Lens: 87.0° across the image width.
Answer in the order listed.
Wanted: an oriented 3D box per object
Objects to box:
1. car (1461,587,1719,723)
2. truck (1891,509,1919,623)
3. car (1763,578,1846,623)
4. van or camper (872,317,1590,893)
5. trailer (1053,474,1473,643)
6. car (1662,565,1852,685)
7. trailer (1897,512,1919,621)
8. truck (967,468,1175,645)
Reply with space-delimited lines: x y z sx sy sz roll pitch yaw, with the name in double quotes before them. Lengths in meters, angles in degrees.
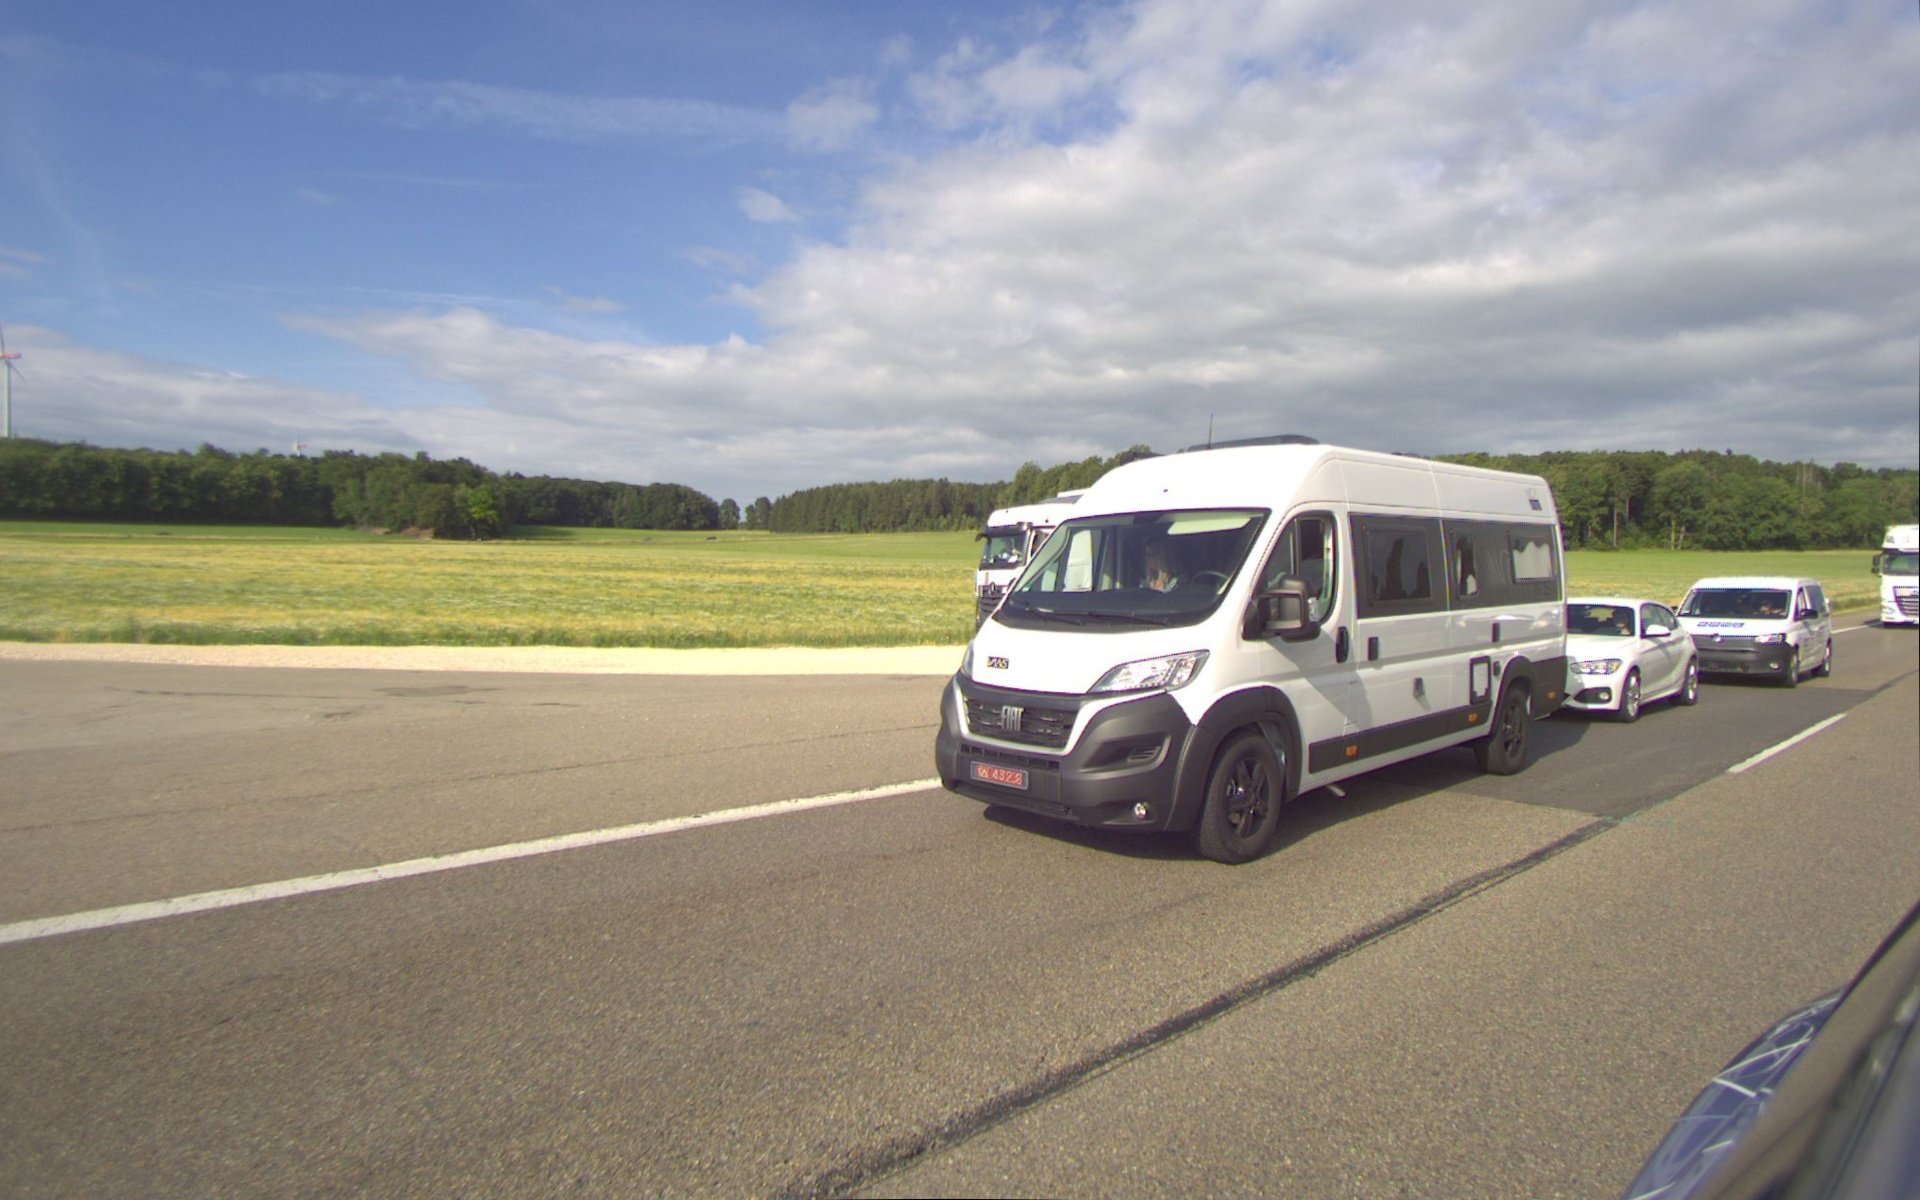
"car" 8.122 0.570 12.894 4.159 1.450 1.706 -1 1 -42
"truck" 38.148 -1.327 39.065 5.668 4.226 2.733 -1 1 -42
"car" 32.577 -0.016 38.999 4.596 1.612 1.807 -1 2 -42
"van or camper" 2.491 -0.027 7.684 6.223 2.714 2.219 -1 1 -42
"trailer" 9.198 -1.080 29.512 13.544 4.213 2.748 0 0 -27
"car" 13.670 0.347 17.259 4.621 1.779 1.727 -1 0 -41
"trailer" 42.636 -1.457 43.121 13.780 4.212 2.739 -2 1 -42
"truck" 2.859 -1.058 26.339 4.663 4.226 2.726 0 0 -27
